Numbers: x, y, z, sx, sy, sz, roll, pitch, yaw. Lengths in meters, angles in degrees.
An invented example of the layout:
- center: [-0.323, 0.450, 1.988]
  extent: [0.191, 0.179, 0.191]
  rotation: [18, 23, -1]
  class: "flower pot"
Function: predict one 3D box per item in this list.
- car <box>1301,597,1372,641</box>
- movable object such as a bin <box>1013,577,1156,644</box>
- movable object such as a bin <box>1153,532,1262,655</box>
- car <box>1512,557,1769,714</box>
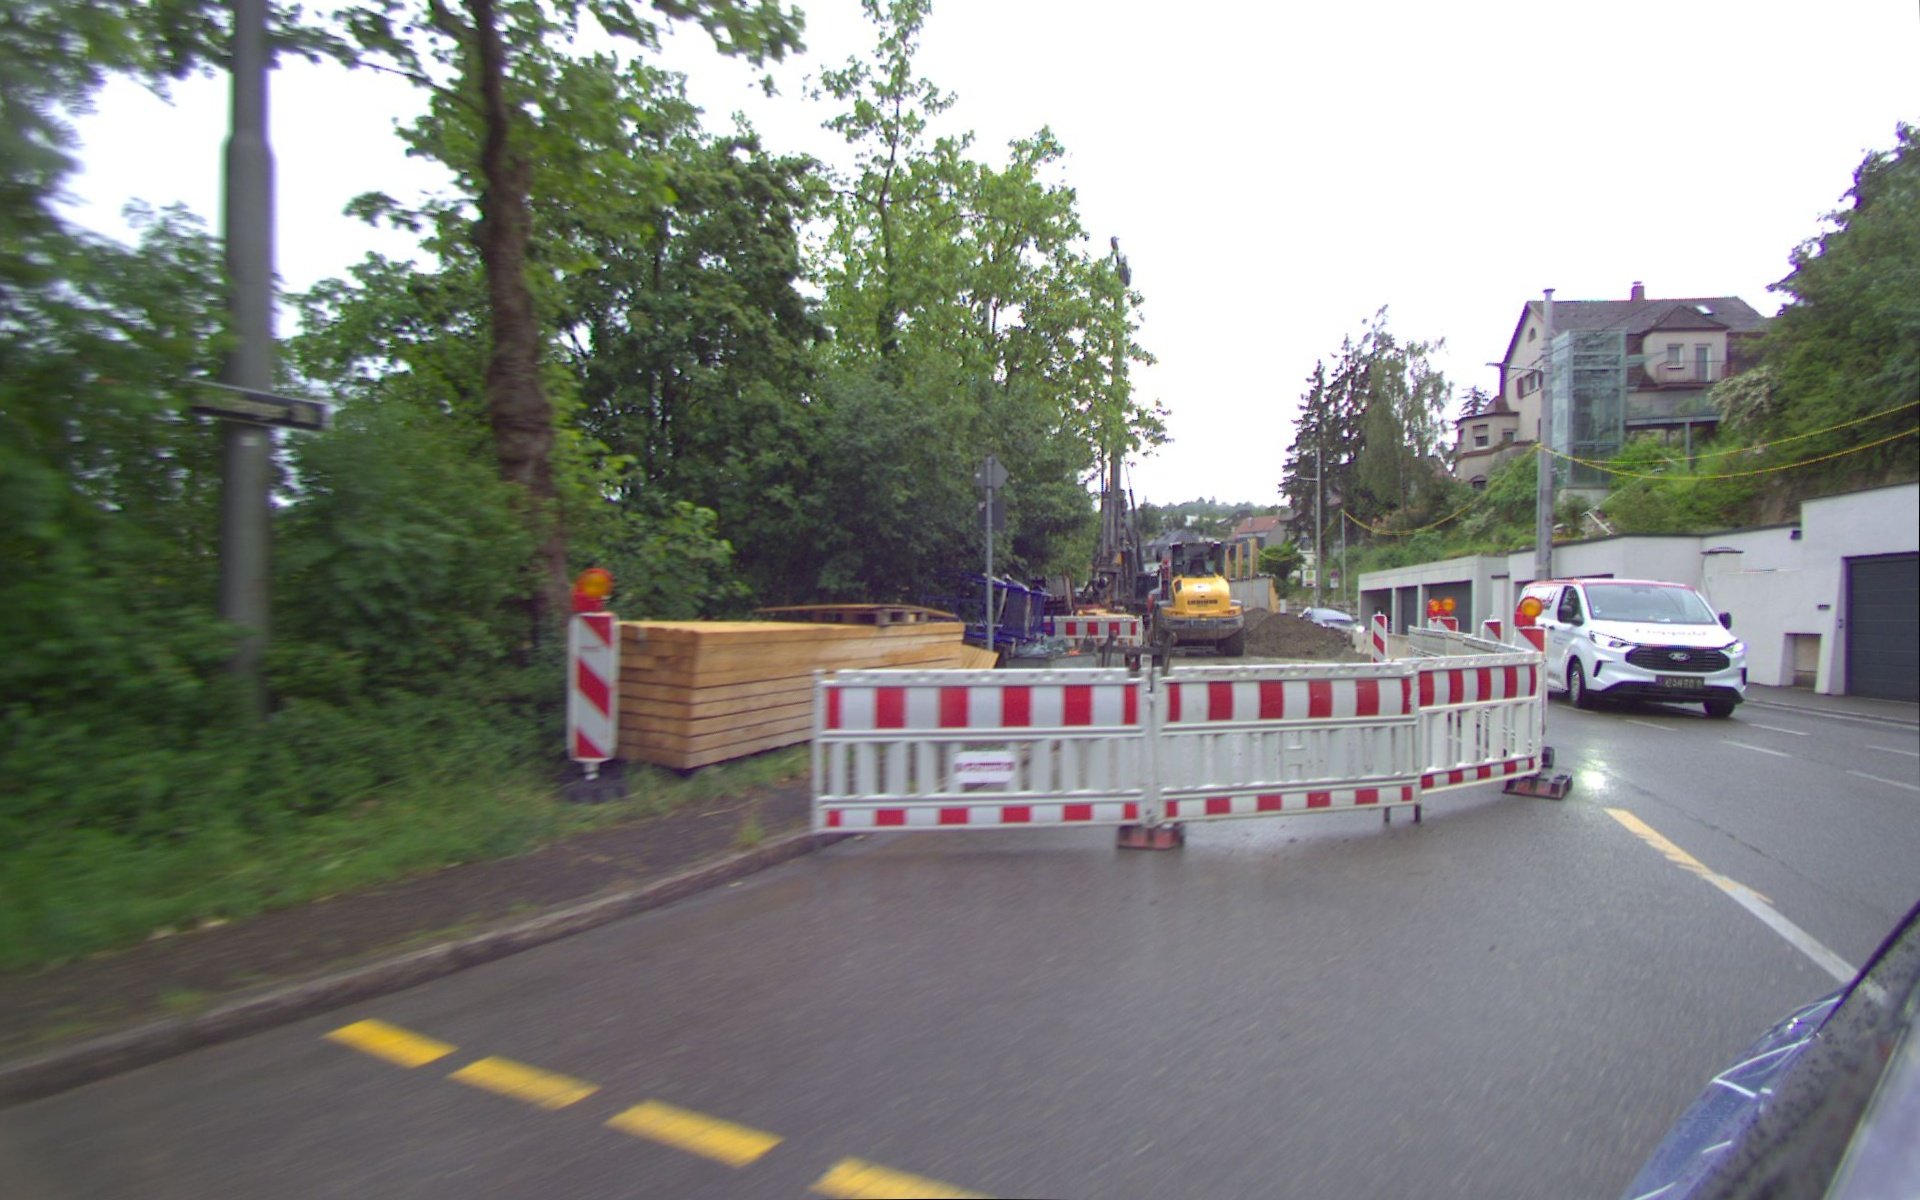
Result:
- center: [14.483, 0.720, 39.147]
  extent: [1.969, 1.605, 3.985]
  rotation: [-1, -1, 12]
  class: "car"
- center: [4.126, 0.308, 33.149]
  extent: [4.489, 2.026, 2.526]
  rotation: [1, 1, 12]
  class: "movable object such as a bin"
- center: [6.776, -0.229, 28.311]
  extent: [2.493, 3.105, 4.846]
  rotation: [1, 1, 9]
  class: "movable object such as a bin"
- center: [10.382, 0.504, 15.932]
  extent: [1.973, 2.039, 4.920]
  rotation: [1, -1, 17]
  class: "car"
